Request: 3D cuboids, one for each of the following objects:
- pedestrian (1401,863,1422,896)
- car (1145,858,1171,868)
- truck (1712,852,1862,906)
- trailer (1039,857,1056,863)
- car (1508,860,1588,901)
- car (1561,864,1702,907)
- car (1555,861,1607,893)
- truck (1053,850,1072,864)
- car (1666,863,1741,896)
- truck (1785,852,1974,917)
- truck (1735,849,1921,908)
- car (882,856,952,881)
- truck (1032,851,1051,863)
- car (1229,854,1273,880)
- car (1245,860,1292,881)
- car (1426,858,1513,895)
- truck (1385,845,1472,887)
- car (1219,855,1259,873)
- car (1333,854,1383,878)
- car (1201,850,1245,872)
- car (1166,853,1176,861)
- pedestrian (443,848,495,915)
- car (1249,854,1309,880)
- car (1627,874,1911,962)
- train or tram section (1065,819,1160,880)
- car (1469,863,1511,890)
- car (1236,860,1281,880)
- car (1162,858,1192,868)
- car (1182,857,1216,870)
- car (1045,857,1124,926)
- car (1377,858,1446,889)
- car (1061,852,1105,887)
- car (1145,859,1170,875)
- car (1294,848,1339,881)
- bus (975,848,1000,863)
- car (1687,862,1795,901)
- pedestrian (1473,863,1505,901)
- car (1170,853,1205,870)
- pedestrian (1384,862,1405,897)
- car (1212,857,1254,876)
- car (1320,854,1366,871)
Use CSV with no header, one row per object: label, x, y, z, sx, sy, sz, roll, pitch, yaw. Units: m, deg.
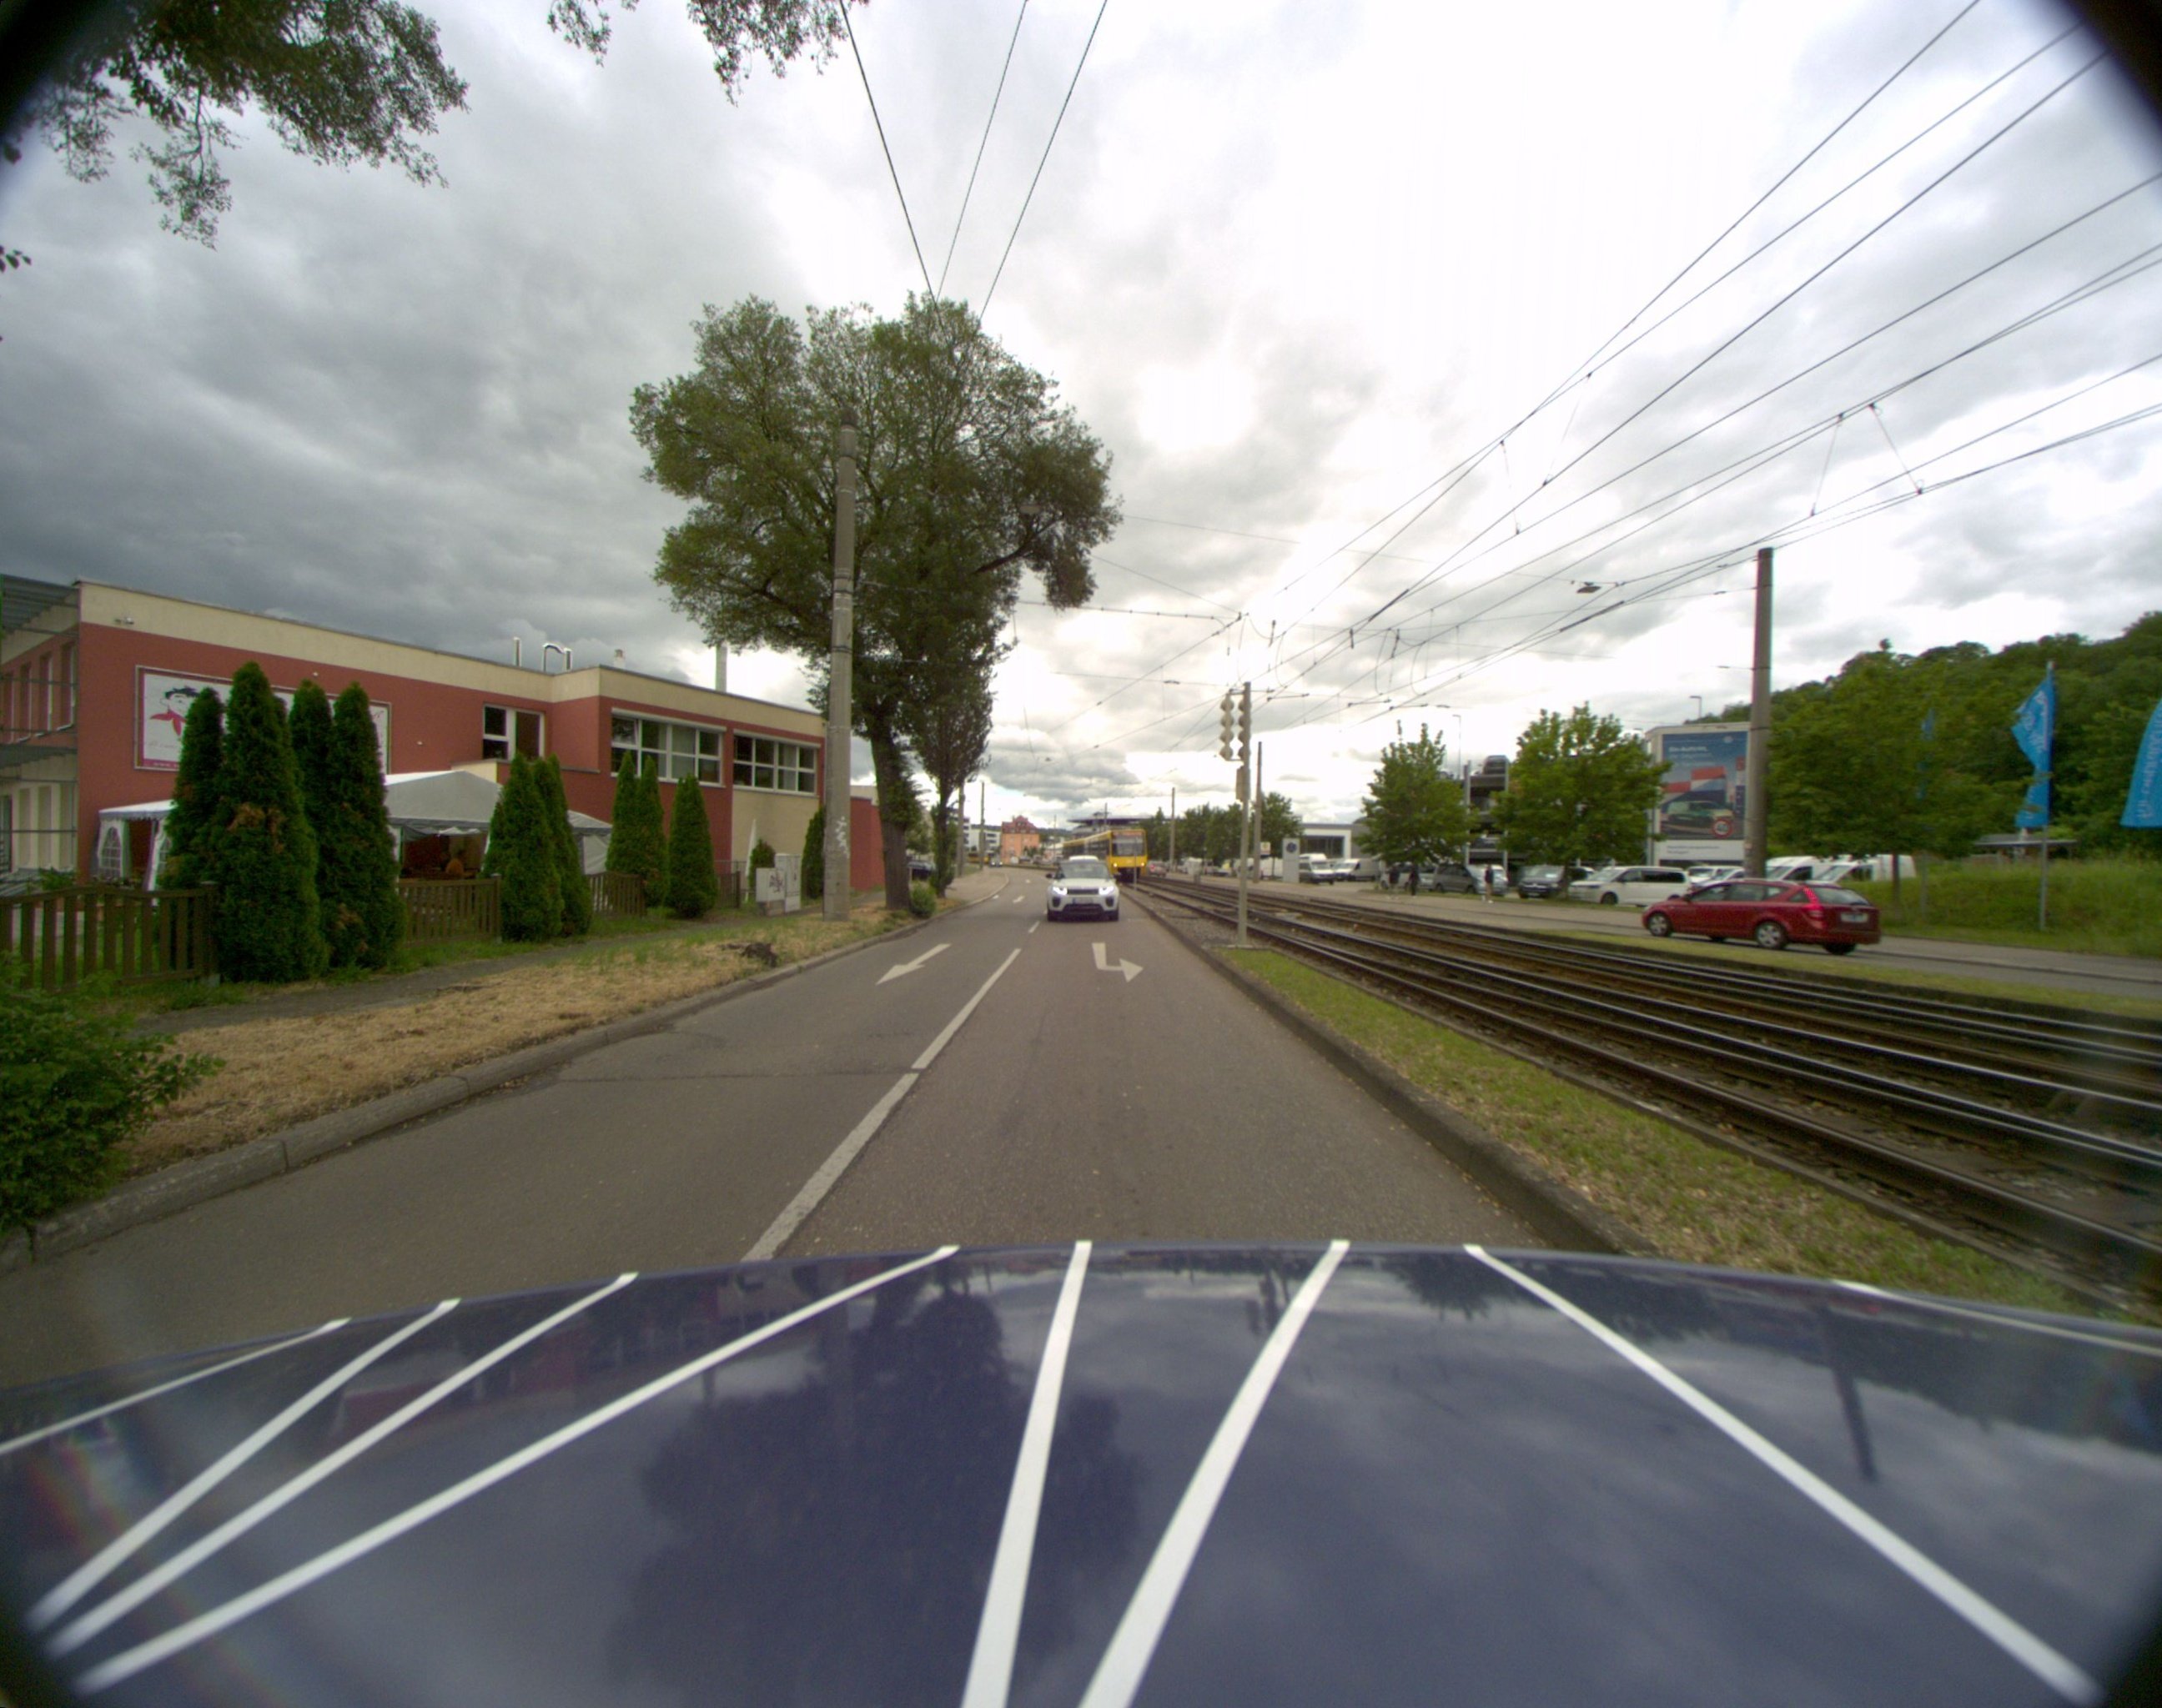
pedestrian,16.995,1.297,39.095,0.630,1.703,0.855,-1,0,-3
car,13.610,1.609,134.650,4.190,1.608,2.062,1,0,-4
truck,36.211,1.242,39.183,5.061,2.573,2.472,1,0,19
trailer,-8.498,1.595,192.585,3.061,1.270,6.998,3,-1,-13
car,24.378,1.346,39.575,5.084,2.002,2.160,1,0,-42
car,25.232,1.431,34.928,5.071,1.877,2.165,1,0,-6
car,33.599,1.503,51.191,1.995,2.001,4.475,1,0,21
truck,-4.227,0.675,173.288,2.874,2.963,8.446,3,-1,-12
car,39.301,1.611,47.991,4.284,2.001,1.996,0,-1,-25
truck,34.395,1.236,32.994,5.059,2.573,2.473,1,0,25
truck,35.214,1.095,36.076,5.765,2.573,2.472,1,0,19
car,-10.918,0.970,50.461,4.223,1.434,1.766,3,1,22
truck,-10.405,0.853,200.299,3.119,2.904,8.950,3,-1,-14
car,19.032,1.465,85.039,4.380,2.802,2.002,1,0,-10
car,19.787,1.759,80.238,4.380,2.093,2.002,1,0,-10
car,22.860,1.260,44.957,2.000,2.002,5.126,1,0,-7
truck,26.522,0.863,58.228,5.923,3.067,2.123,1,0,24
car,19.276,1.195,92.947,4.380,2.160,2.002,1,0,-10
car,30.458,1.291,83.415,5.965,2.587,1.999,1,0,-35
car,17.820,0.877,95.486,4.983,2.682,2.113,1,0,-10
car,22.194,0.701,186.792,1.996,2.002,4.005,1,0,14
pedestrian,-13.905,0.605,17.260,0.703,1.481,0.771,1,0,37
car,20.139,1.323,77.437,5.489,2.587,2.245,1,0,-6
car,15.193,1.325,17.213,2.000,1.506,4.498,4,0,-6
train or tram section,1.958,-0.383,58.386,3.400,3.984,16.925,-1,1,-11
car,28.743,1.535,53.498,1.995,1.820,4.475,1,0,21
car,19.333,1.701,82.770,4.380,2.093,2.002,1,0,-10
car,15.061,1.413,119.571,4.380,1.608,2.003,1,0,-8
car,16.680,1.310,107.270,4.378,1.834,2.003,1,0,-5
car,0.029,0.954,21.187,1.999,1.717,3.999,0,0,-2
car,22.146,1.272,51.145,2.000,2.002,4.915,1,0,-8
car,0.027,0.847,42.711,2.000,1.881,4.624,1,0,-6
car,8.123,1.409,80.772,1.896,1.523,4.254,4,-1,-4
car,22.348,0.963,72.354,2.114,3.001,5.935,1,0,-4
bus,-26.936,0.325,218.543,3.566,3.930,10.468,-1,1,-27
car,36.431,1.492,42.050,3.993,2.002,2.002,0,0,11
pedestrian,18.218,1.251,33.914,0.720,1.646,1.041,-2,0,-13
car,15.316,1.042,109.361,4.510,2.298,2.124,1,0,-5
pedestrian,16.065,1.293,38.971,0.678,1.802,0.855,-1,0,-3
car,17.997,1.458,90.145,4.380,2.160,2.002,1,0,-10
car,31.701,1.027,91.915,4.857,2.002,1.999,1,0,-4
